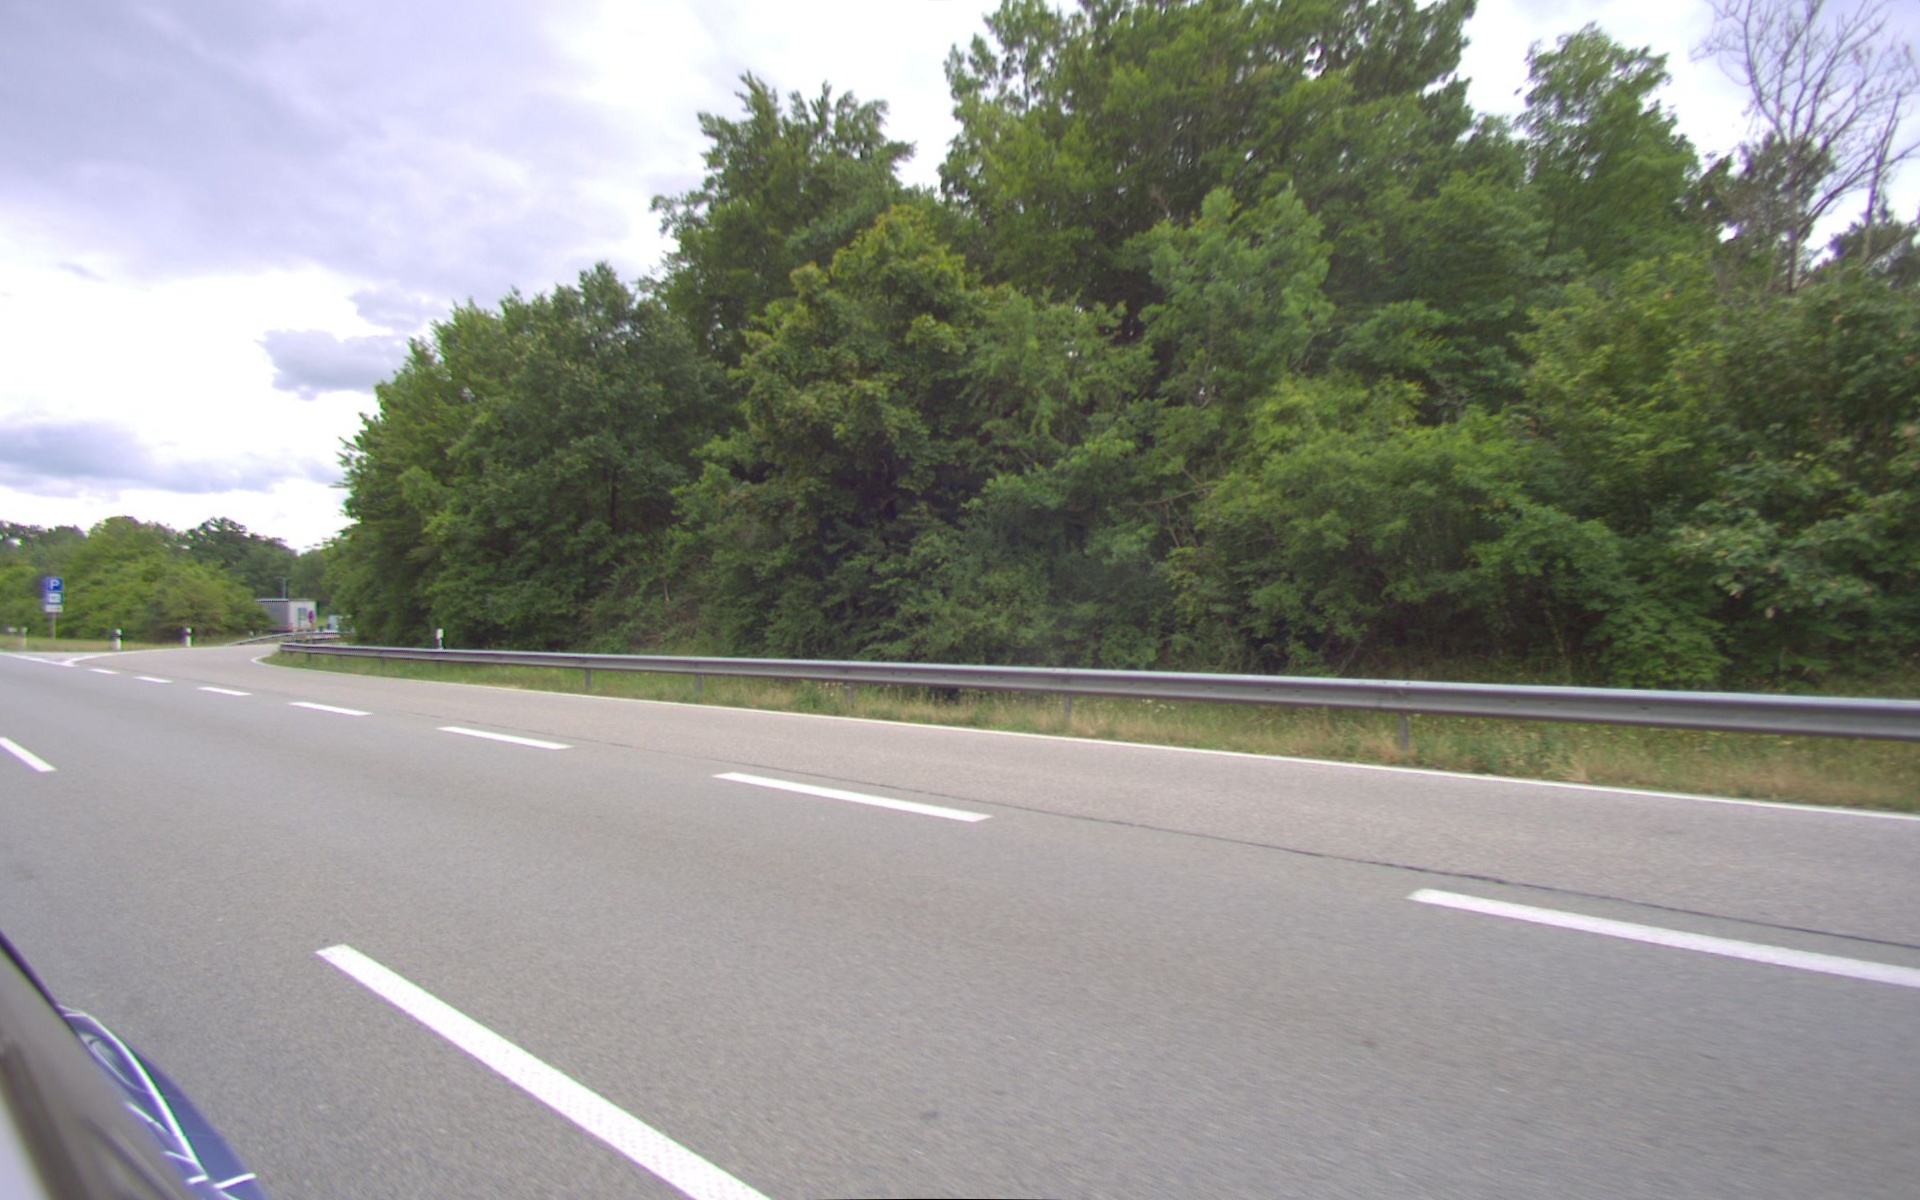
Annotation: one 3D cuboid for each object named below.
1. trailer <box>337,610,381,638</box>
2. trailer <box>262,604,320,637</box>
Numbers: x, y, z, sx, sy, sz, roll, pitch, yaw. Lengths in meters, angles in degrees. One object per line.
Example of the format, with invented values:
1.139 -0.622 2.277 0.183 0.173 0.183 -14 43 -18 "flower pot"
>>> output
-66.201 2.622 111.428 2.451 2.987 7.397 0 -1 -45 "trailer"
-69.441 2.121 105.041 1.998 3.277 4.629 -1 -1 40 "trailer"
